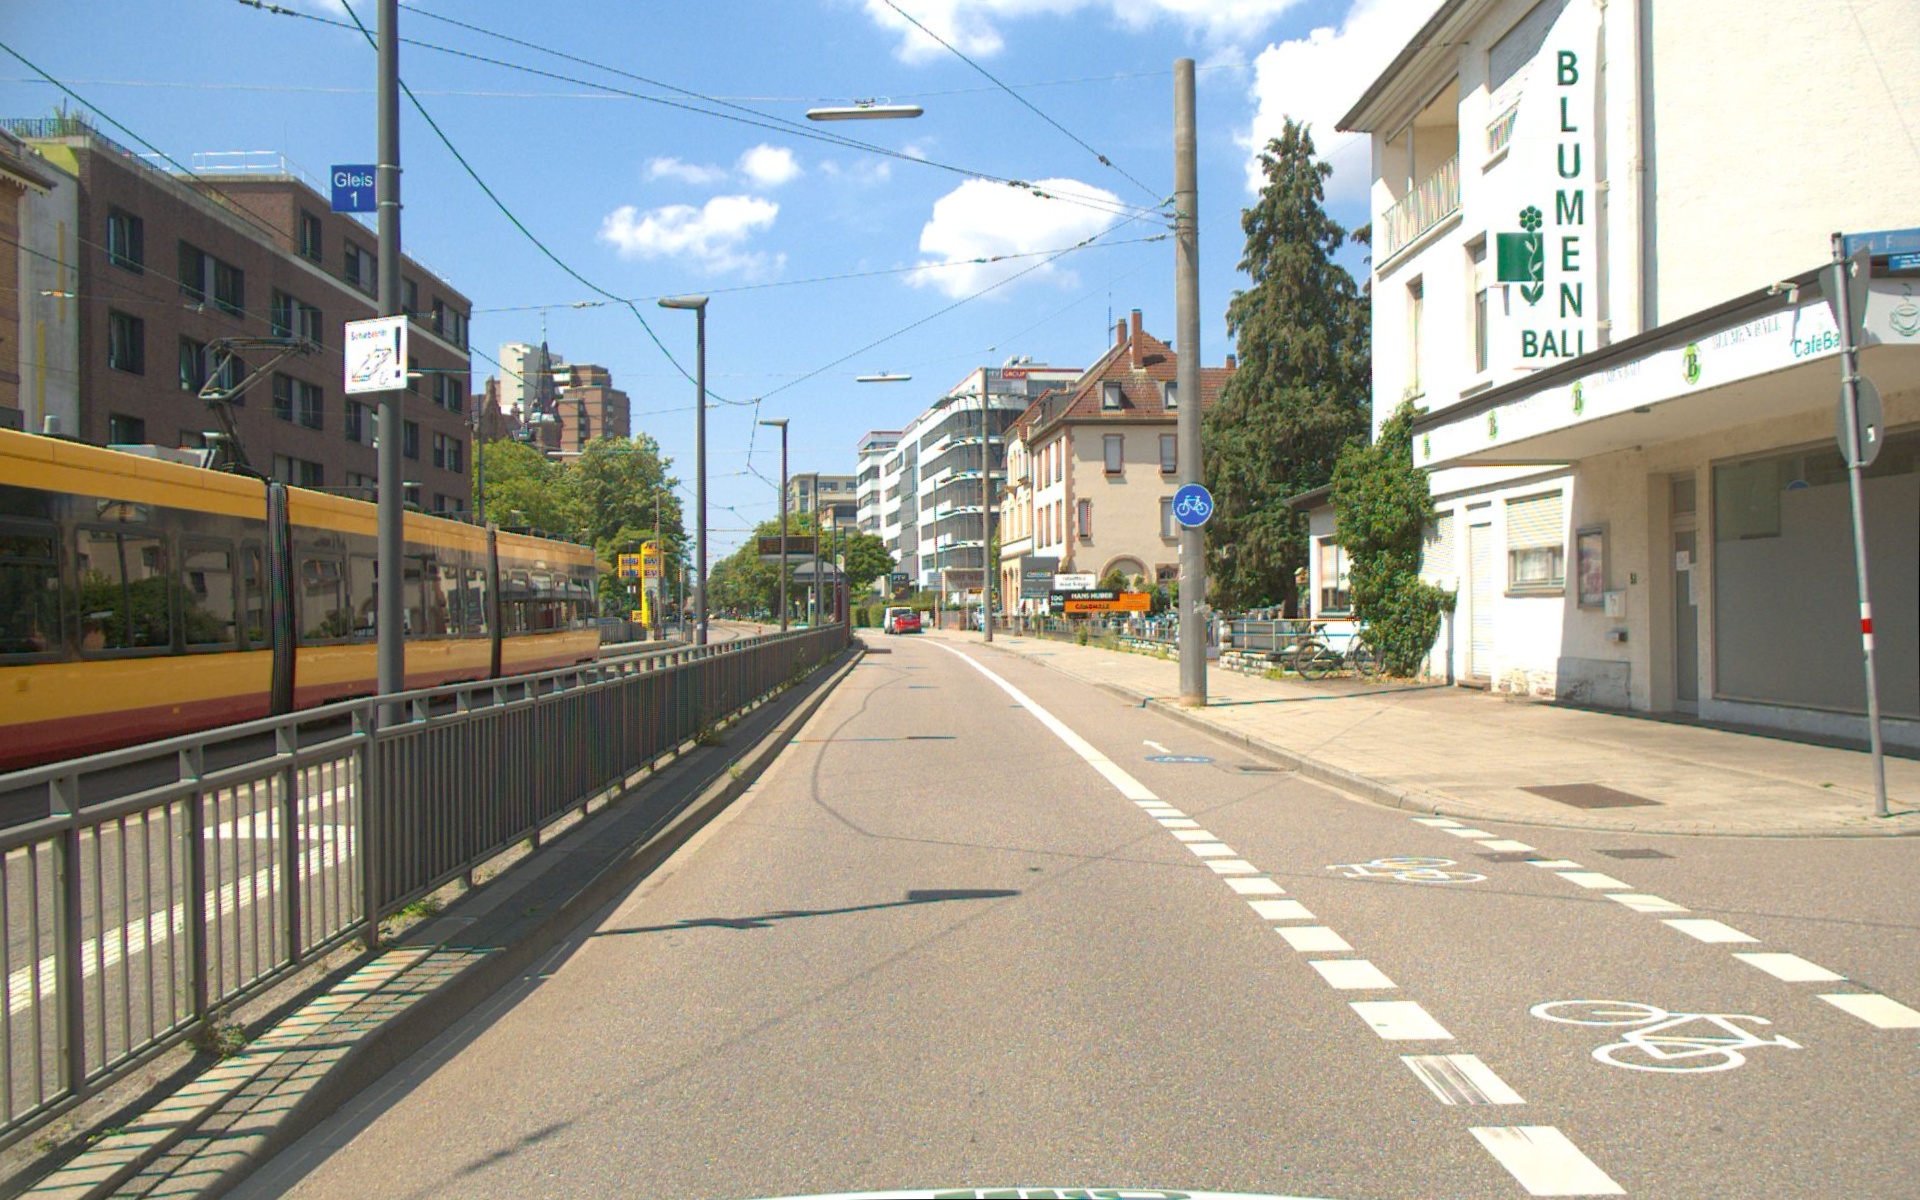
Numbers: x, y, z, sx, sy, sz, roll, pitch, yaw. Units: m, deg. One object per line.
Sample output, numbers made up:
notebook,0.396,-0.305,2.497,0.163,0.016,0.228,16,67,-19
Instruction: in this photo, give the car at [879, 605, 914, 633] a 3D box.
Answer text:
car,-4.874,1.452,126.433,1.957,2.026,5.502,-2,0,-9

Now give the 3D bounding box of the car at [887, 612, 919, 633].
car,-4.148,1.658,119.818,1.956,1.467,4.009,-1,-1,-8

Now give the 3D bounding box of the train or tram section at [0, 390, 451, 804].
train or tram section,-10.136,0.065,18.474,3.185,3.630,20.491,-1,-1,-2

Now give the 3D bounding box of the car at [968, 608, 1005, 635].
car,1.742,1.466,110.557,1.842,1.652,4.632,-3,0,-7

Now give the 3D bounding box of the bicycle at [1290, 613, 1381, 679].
bicycle,6.714,0.822,29.627,1.500,1.105,0.429,-3,-1,4

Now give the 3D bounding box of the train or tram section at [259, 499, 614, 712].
train or tram section,-10.758,0.219,36.766,3.170,3.630,16.341,-1,-1,-2
